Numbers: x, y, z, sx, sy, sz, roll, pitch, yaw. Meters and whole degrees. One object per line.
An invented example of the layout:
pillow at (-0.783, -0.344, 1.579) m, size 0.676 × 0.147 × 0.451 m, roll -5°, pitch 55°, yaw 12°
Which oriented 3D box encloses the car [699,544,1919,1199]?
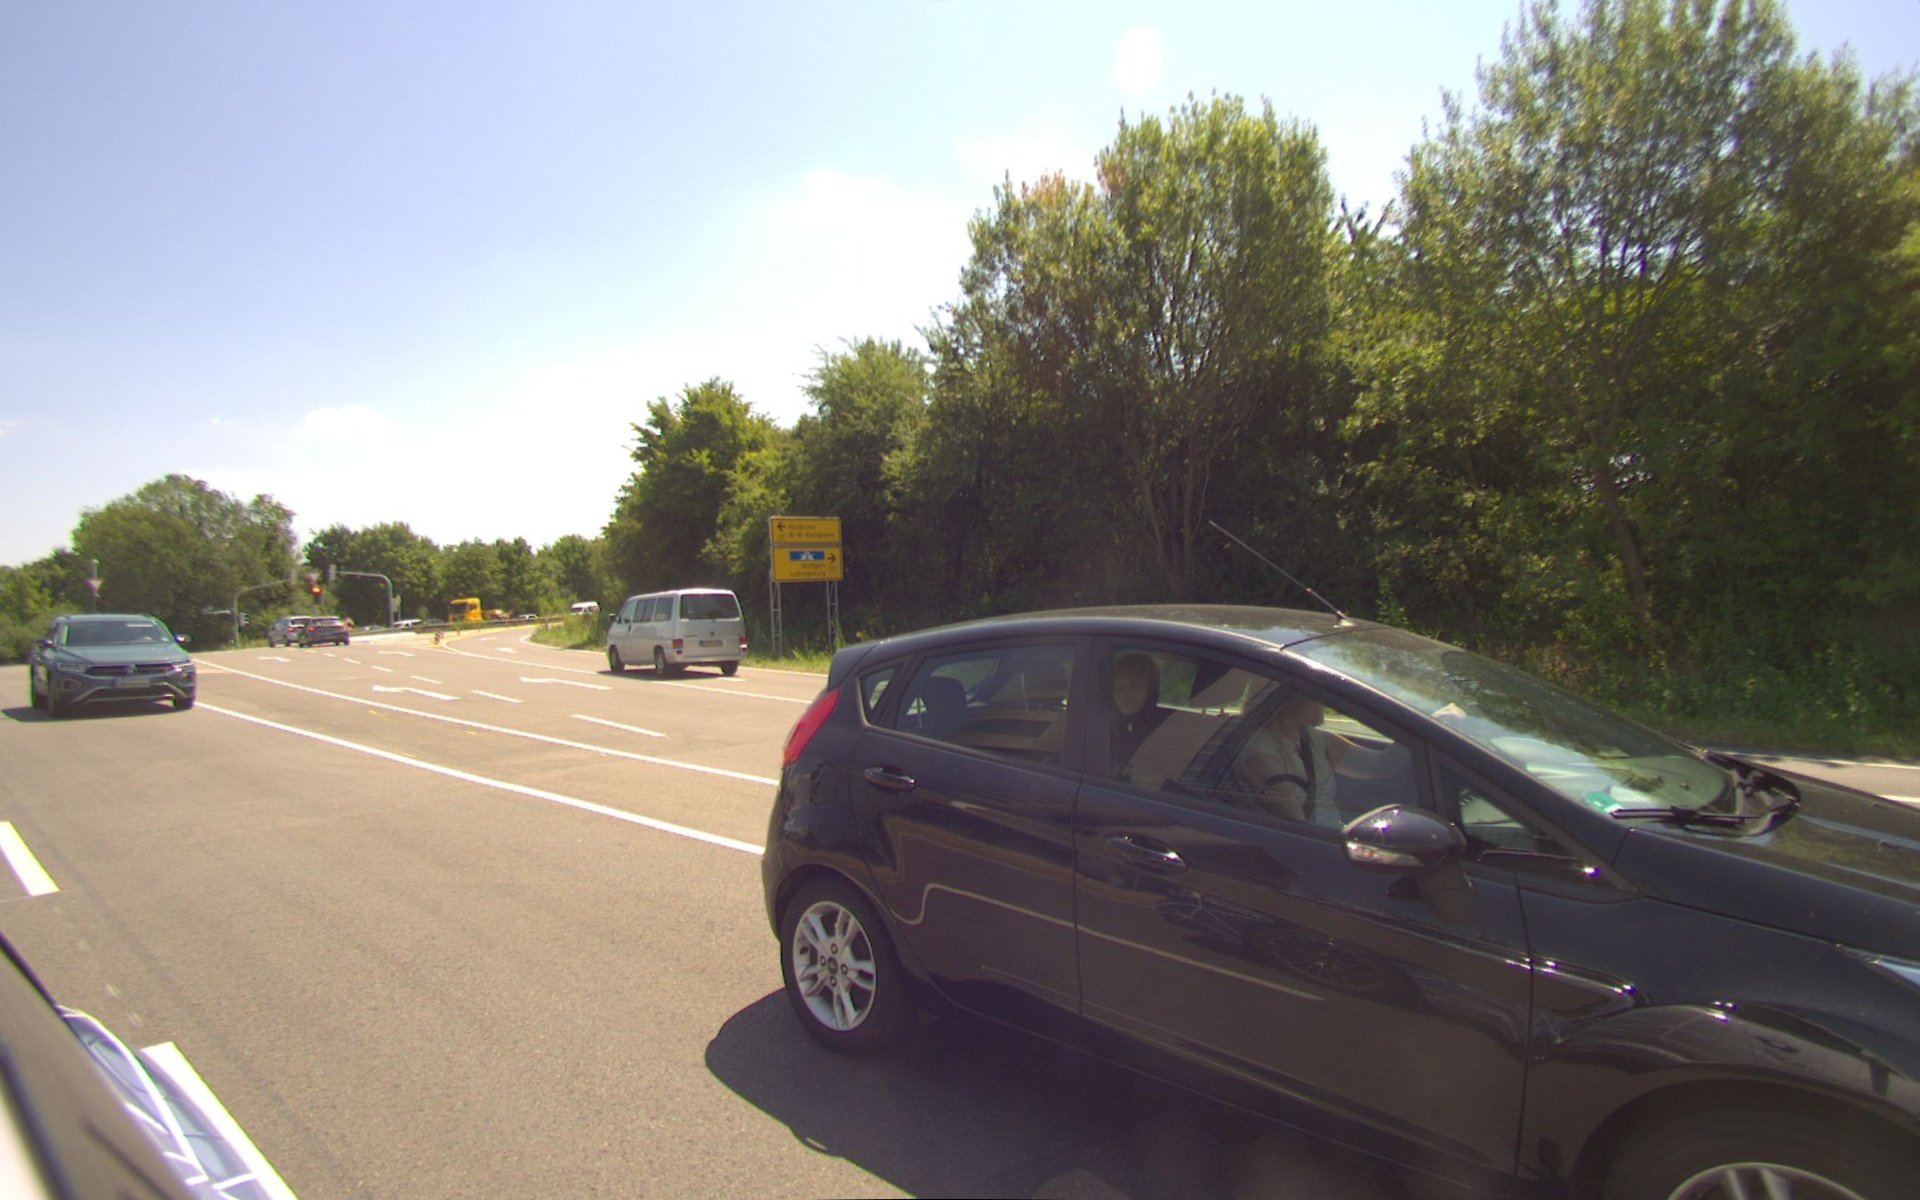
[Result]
car at (1.176, 0.689, 2.861) m, size 4.206 × 1.505 × 1.635 m, roll -3°, pitch -1°, yaw 42°

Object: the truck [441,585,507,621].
truck at (-53.274, 0.281, 111.163) m, size 2.954 × 3.564 × 6.834 m, roll -4°, pitch 0°, yaw 11°

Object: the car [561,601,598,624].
car at (-48.755, 1.593, 129.740) m, size 2.142 × 2.626 × 5.474 m, roll -4°, pitch 1°, yaw 4°

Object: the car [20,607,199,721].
car at (-14.099, 0.967, 16.681) m, size 4.392 × 1.598 × 1.814 m, roll -2°, pitch -1°, yaw 44°

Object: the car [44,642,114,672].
car at (-53.555, 3.438, 61.615) m, size 2.082 × 1.603 × 4.465 m, roll -1°, pitch 0°, yaw -25°

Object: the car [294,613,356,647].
car at (-31.464, 1.507, 50.087) m, size 1.969 × 1.449 × 4.229 m, roll -4°, pitch 0°, yaw -40°

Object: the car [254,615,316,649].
car at (-37.184, 1.770, 55.694) m, size 4.350 × 1.611 × 1.592 m, roll -4°, pitch 1°, yaw 40°

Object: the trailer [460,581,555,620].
trailer at (-52.238, -0.059, 117.436) m, size 3.039 × 4.093 × 13.133 m, roll -4°, pitch 0°, yaw 10°

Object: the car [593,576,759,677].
car at (-6.750, 0.627, 23.677) m, size 1.949 × 2.028 × 4.850 m, roll -4°, pitch 1°, yaw -38°
